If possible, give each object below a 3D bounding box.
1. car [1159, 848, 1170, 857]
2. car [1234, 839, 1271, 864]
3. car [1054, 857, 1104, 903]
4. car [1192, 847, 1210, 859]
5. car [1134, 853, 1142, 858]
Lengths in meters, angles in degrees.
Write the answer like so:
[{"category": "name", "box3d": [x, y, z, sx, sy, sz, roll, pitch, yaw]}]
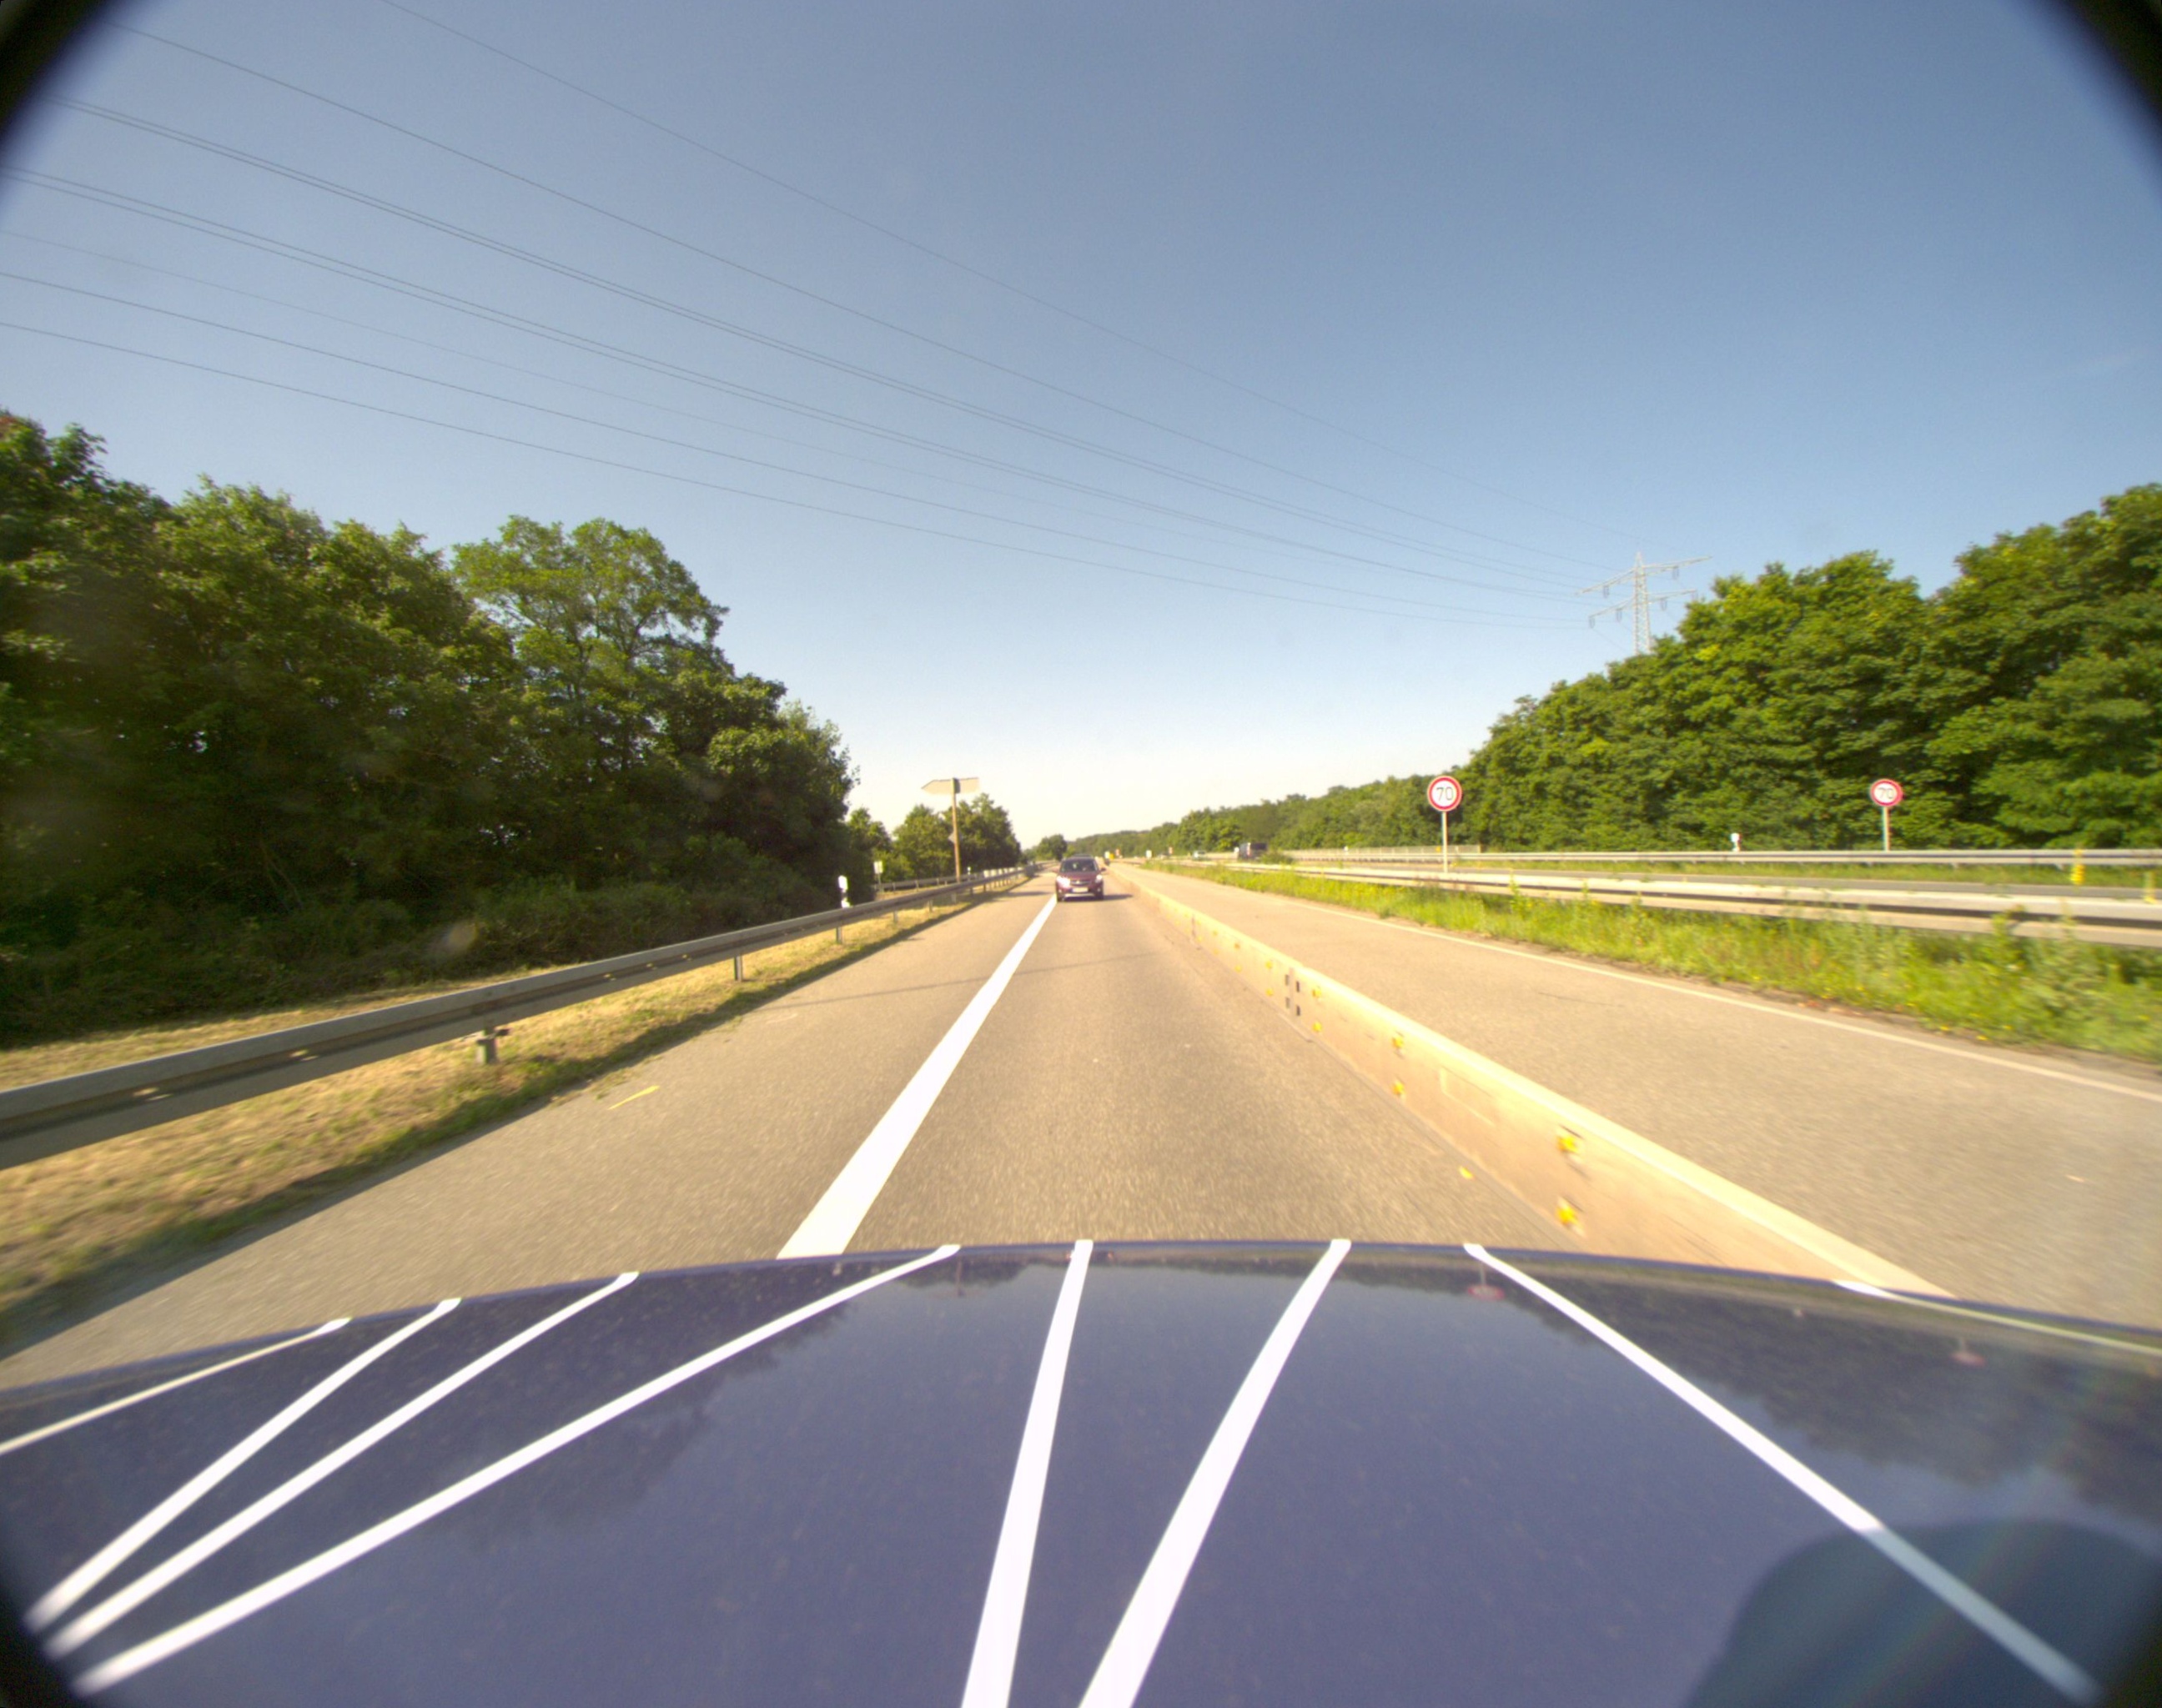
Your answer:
[{"category": "car", "box3d": [16.200, -0.356, 147.300, 1.767, 1.574, 4.422, -3, 0, 1]}, {"category": "car", "box3d": [15.103, -0.219, 67.217, 1.999, 2.022, 5.167, -2, 0, -1]}, {"category": "car", "box3d": [0.003, 0.867, 27.217, 1.587, 1.491, 4.416, -2, 0, 2]}, {"category": "car", "box3d": [15.917, -0.174, 100.980, 1.651, 1.522, 3.818, -3, 0, 0]}, {"category": "car", "box3d": [16.594, 0.427, 221.163, 1.781, 1.385, 4.125, -1, 0, 0]}]
